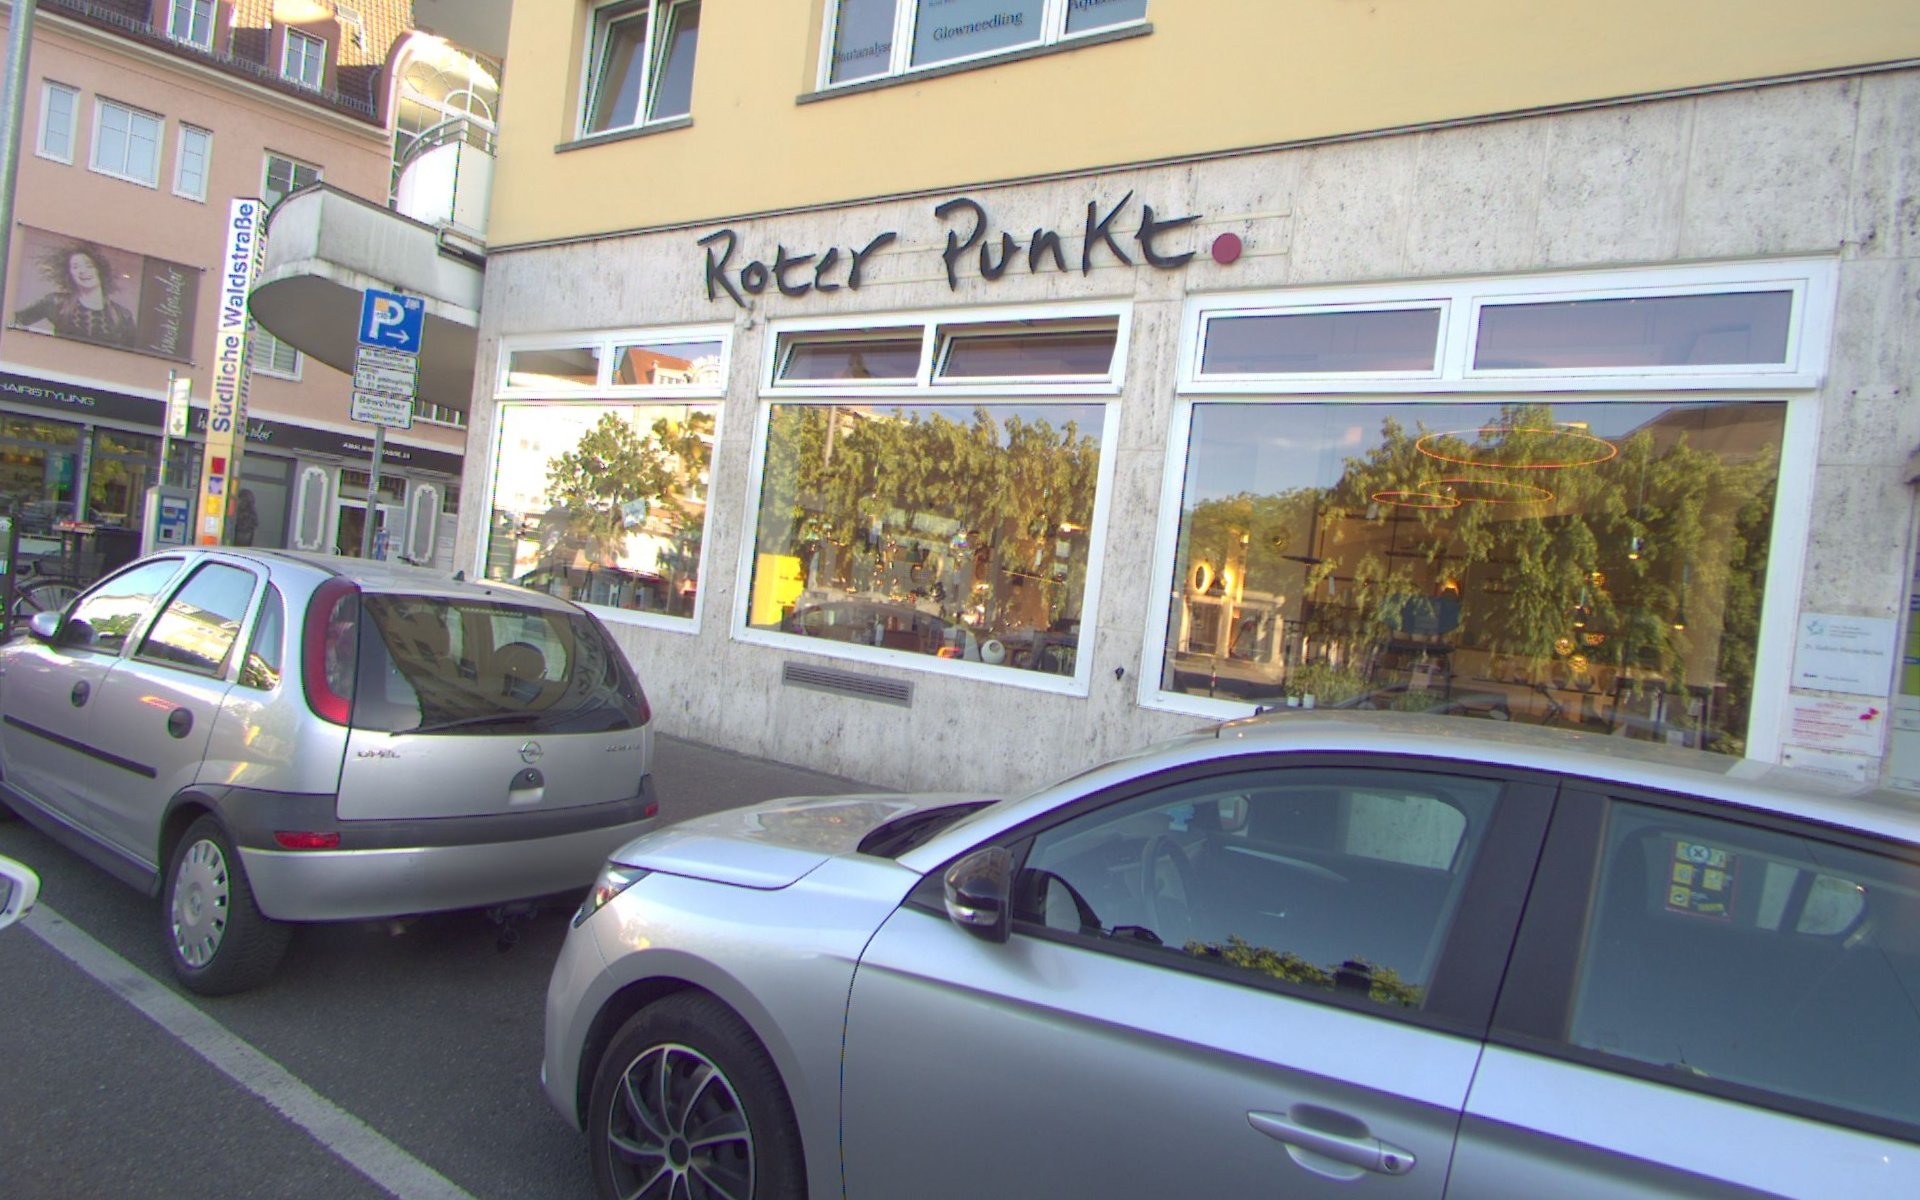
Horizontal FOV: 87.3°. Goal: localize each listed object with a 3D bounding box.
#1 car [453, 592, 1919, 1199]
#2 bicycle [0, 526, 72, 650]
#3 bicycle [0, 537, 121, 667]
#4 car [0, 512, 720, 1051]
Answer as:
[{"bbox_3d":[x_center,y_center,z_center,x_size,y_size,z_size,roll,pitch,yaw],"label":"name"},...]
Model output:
[{"bbox_3d":[0.754,0.936,2.249,3.598,1.444,1.550,6,-2,30],"label":"car"},{"bbox_3d":[-9.098,-0.152,8.818,0.408,1.101,1.872,6,1,35],"label":"bicycle"},{"bbox_3d":[-8.129,-0.005,8.227,0.348,1.051,1.871,6,1,38],"label":"bicycle"},{"bbox_3d":[-2.907,0.490,4.424,3.420,1.407,1.548,6,-1,33],"label":"car"}]
